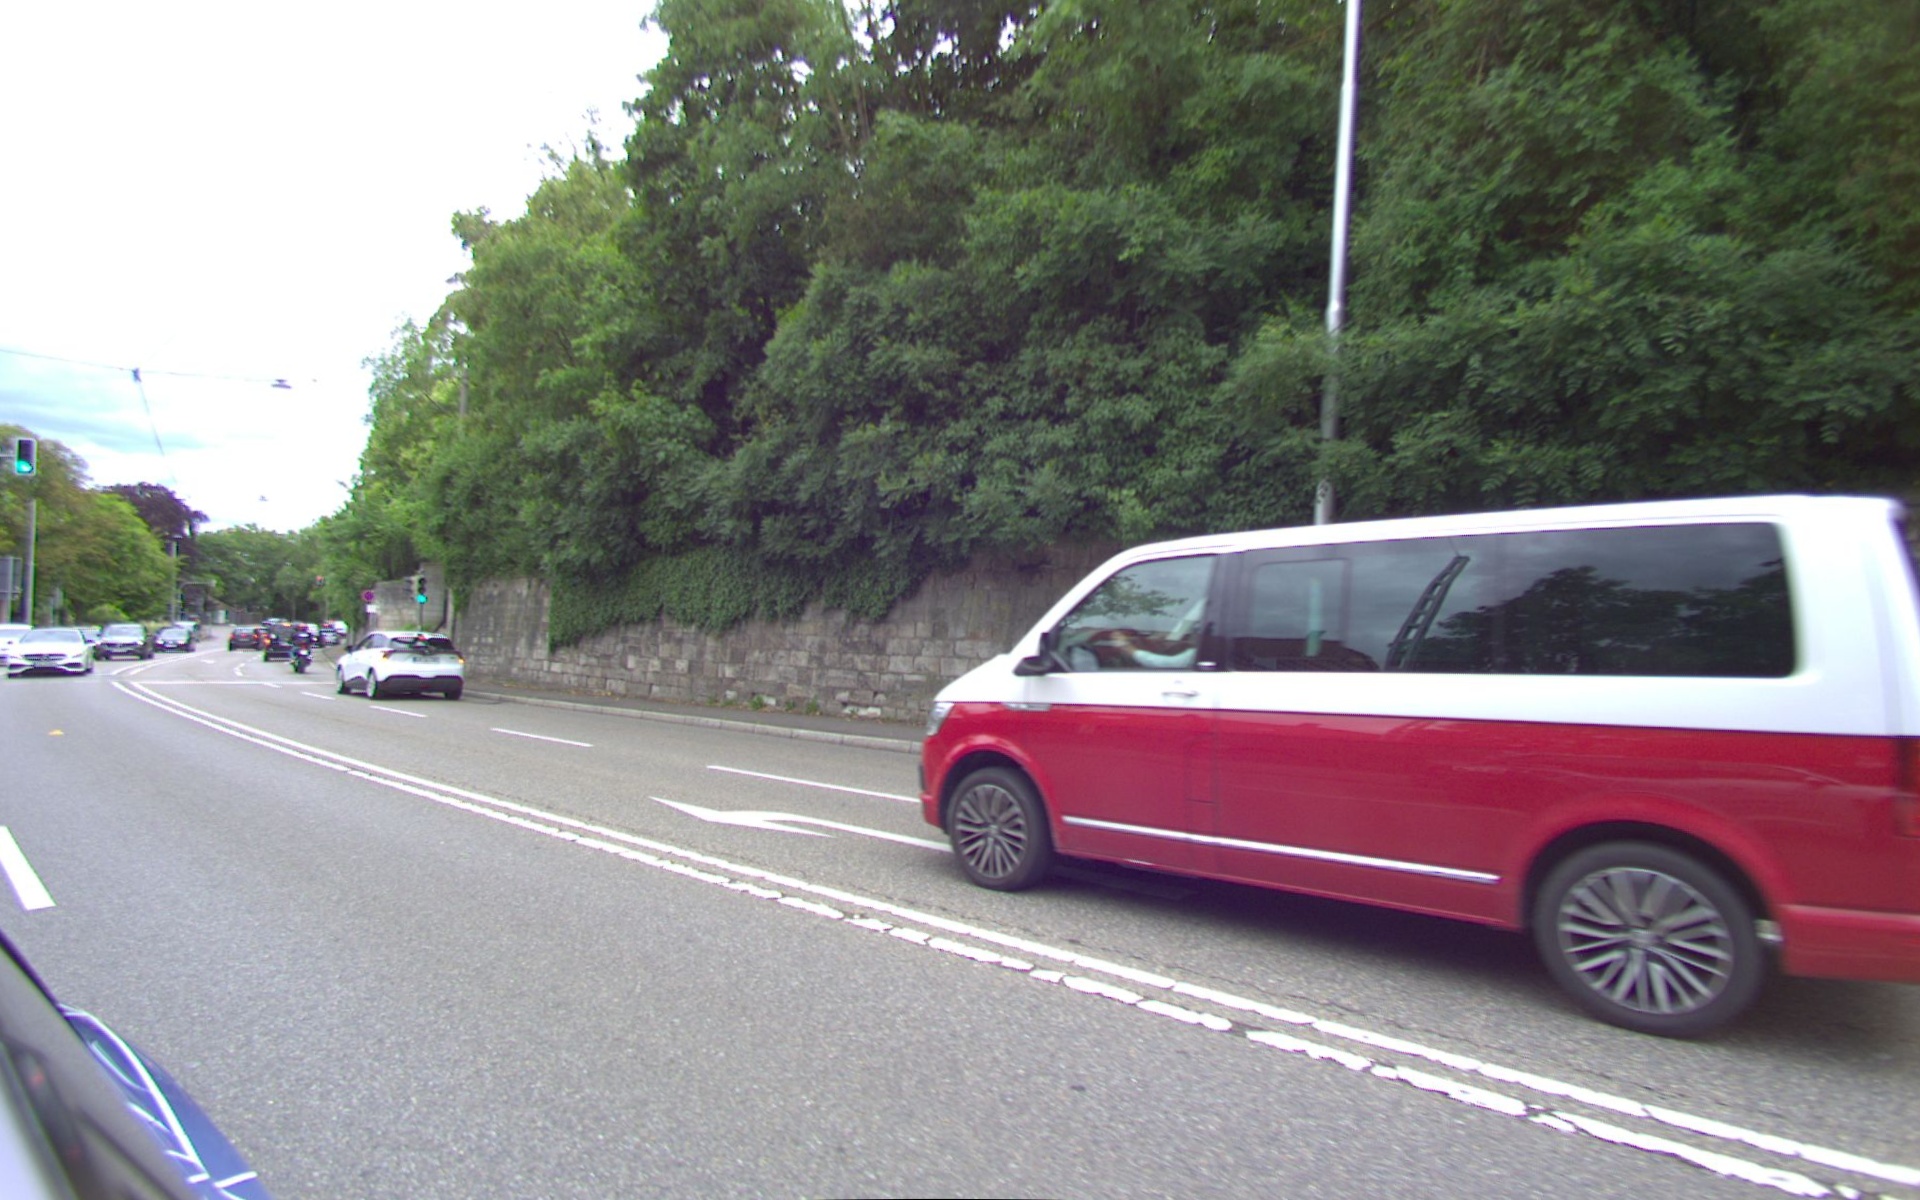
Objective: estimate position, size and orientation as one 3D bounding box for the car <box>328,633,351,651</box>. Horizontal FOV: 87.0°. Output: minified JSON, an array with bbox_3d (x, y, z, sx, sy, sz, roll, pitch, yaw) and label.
[{"bbox_3d":[-66.019,4.474,107.625,1.867,1.862,4.408,2,-3,-33],"label":"car"}]

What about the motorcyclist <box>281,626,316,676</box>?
[{"bbox_3d":[-23.013,1.770,35.193,1.338,1.718,0.641,-2,-5,44],"label":"motorcyclist"}]

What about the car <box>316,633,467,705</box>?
[{"bbox_3d":[-12.972,1.533,22.997,4.101,1.478,1.763,-2,-5,43],"label":"car"}]

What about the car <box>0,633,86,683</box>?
[{"bbox_3d":[-27.164,1.705,30.025,1.776,1.401,3.532,3,-4,-40],"label":"car"}]

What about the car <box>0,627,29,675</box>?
[{"bbox_3d":[-36.921,1.925,38.468,1.928,1.785,4.007,3,-4,-39],"label":"car"}]

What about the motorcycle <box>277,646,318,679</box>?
[{"bbox_3d":[-23.037,2.157,35.173,2.308,1.082,0.642,-2,-5,44],"label":"motorcycle"}]

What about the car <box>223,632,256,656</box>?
[{"bbox_3d":[-49.018,2.991,68.885,1.731,1.578,3.688,2,-3,-35],"label":"car"}]

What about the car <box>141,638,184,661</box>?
[{"bbox_3d":[-49.082,3.023,62.362,1.806,1.387,4.010,2,-3,-35],"label":"car"}]

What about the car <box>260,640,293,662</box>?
[{"bbox_3d":[-56.762,4.226,84.107,1.932,1.763,4.892,2,-3,-30],"label":"car"}]

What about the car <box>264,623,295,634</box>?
[{"bbox_3d":[-90.519,3.793,134.626,4.445,1.420,1.827,-1,-4,35],"label":"car"}]

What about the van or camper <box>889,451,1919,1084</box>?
[{"bbox_3d":[2.008,0.571,5.019,4.761,1.893,1.870,-1,-3,40],"label":"van or camper"}]

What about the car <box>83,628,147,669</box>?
[{"bbox_3d":[-38.233,2.198,45.882,1.927,1.753,4.009,2,-3,-36],"label":"car"}]

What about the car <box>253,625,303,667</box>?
[{"bbox_3d":[-32.363,2.135,48.101,1.719,1.860,4.262,0,-1,-30],"label":"car"}]
